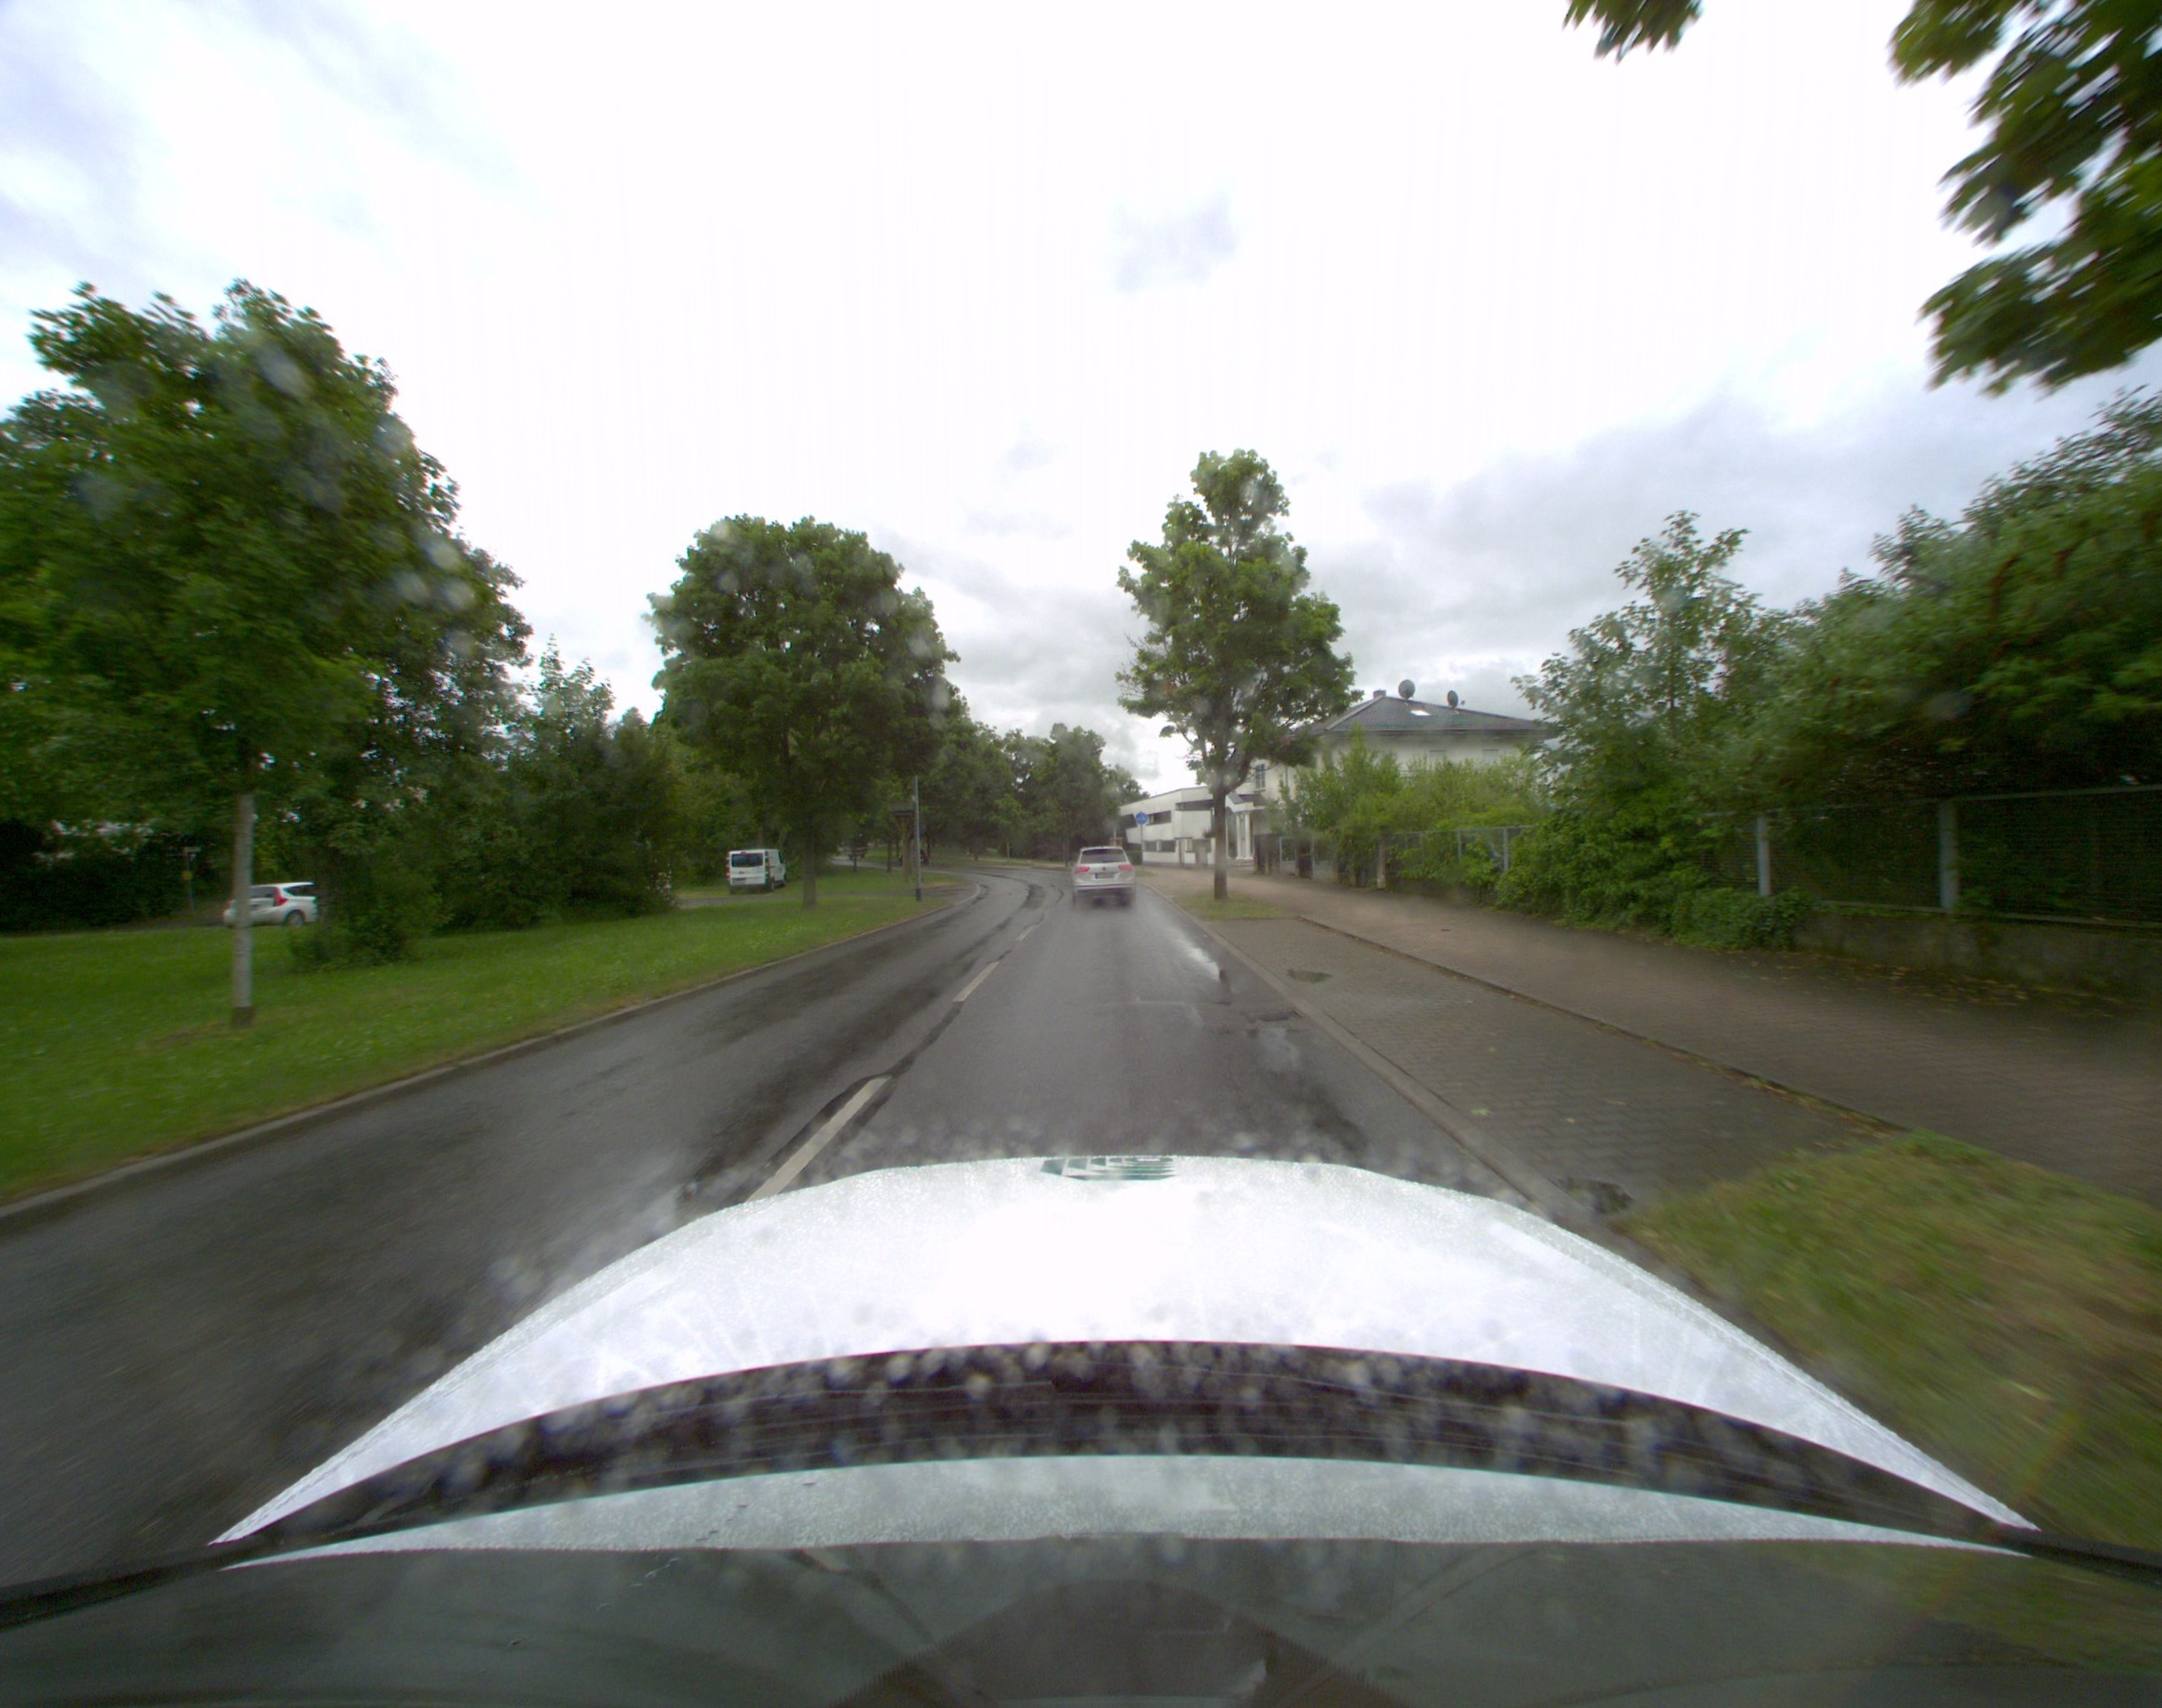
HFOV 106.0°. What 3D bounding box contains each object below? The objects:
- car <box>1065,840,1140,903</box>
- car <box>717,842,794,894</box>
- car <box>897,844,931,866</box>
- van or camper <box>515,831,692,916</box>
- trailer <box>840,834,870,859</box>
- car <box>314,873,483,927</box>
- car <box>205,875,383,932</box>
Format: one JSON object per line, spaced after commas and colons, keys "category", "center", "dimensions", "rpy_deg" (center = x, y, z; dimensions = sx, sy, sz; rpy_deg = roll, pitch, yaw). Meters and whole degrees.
{"category": "car", "center": [0.680, 0.463, 24.539], "dimensions": [1.966, 1.652, 4.180], "rpy_deg": [-3, 0, 2]}
{"category": "car", "center": [-15.262, 0.566, 38.575], "dimensions": [2.127, 1.985, 5.458], "rpy_deg": [-3, 3, -9]}
{"category": "car", "center": [-15.316, 0.104, 74.734], "dimensions": [1.913, 2.013, 3.906], "rpy_deg": [1, 0, -30]}
{"category": "van or camper", "center": [-15.531, 0.566, 27.136], "dimensions": [2.381, 2.360, 6.797], "rpy_deg": [-3, 0, -6]}
{"category": "trailer", "center": [-27.703, -0.952, 99.587], "dimensions": [2.006, 2.807, 5.556], "rpy_deg": [-8, 5, -28]}
{"category": "car", "center": [-22.322, 1.441, 26.955], "dimensions": [1.788, 1.537, 4.992], "rpy_deg": [-2, -1, -6]}
{"category": "car", "center": [-25.753, 1.569, 26.900], "dimensions": [1.850, 1.581, 4.344], "rpy_deg": [-2, 0, -5]}
